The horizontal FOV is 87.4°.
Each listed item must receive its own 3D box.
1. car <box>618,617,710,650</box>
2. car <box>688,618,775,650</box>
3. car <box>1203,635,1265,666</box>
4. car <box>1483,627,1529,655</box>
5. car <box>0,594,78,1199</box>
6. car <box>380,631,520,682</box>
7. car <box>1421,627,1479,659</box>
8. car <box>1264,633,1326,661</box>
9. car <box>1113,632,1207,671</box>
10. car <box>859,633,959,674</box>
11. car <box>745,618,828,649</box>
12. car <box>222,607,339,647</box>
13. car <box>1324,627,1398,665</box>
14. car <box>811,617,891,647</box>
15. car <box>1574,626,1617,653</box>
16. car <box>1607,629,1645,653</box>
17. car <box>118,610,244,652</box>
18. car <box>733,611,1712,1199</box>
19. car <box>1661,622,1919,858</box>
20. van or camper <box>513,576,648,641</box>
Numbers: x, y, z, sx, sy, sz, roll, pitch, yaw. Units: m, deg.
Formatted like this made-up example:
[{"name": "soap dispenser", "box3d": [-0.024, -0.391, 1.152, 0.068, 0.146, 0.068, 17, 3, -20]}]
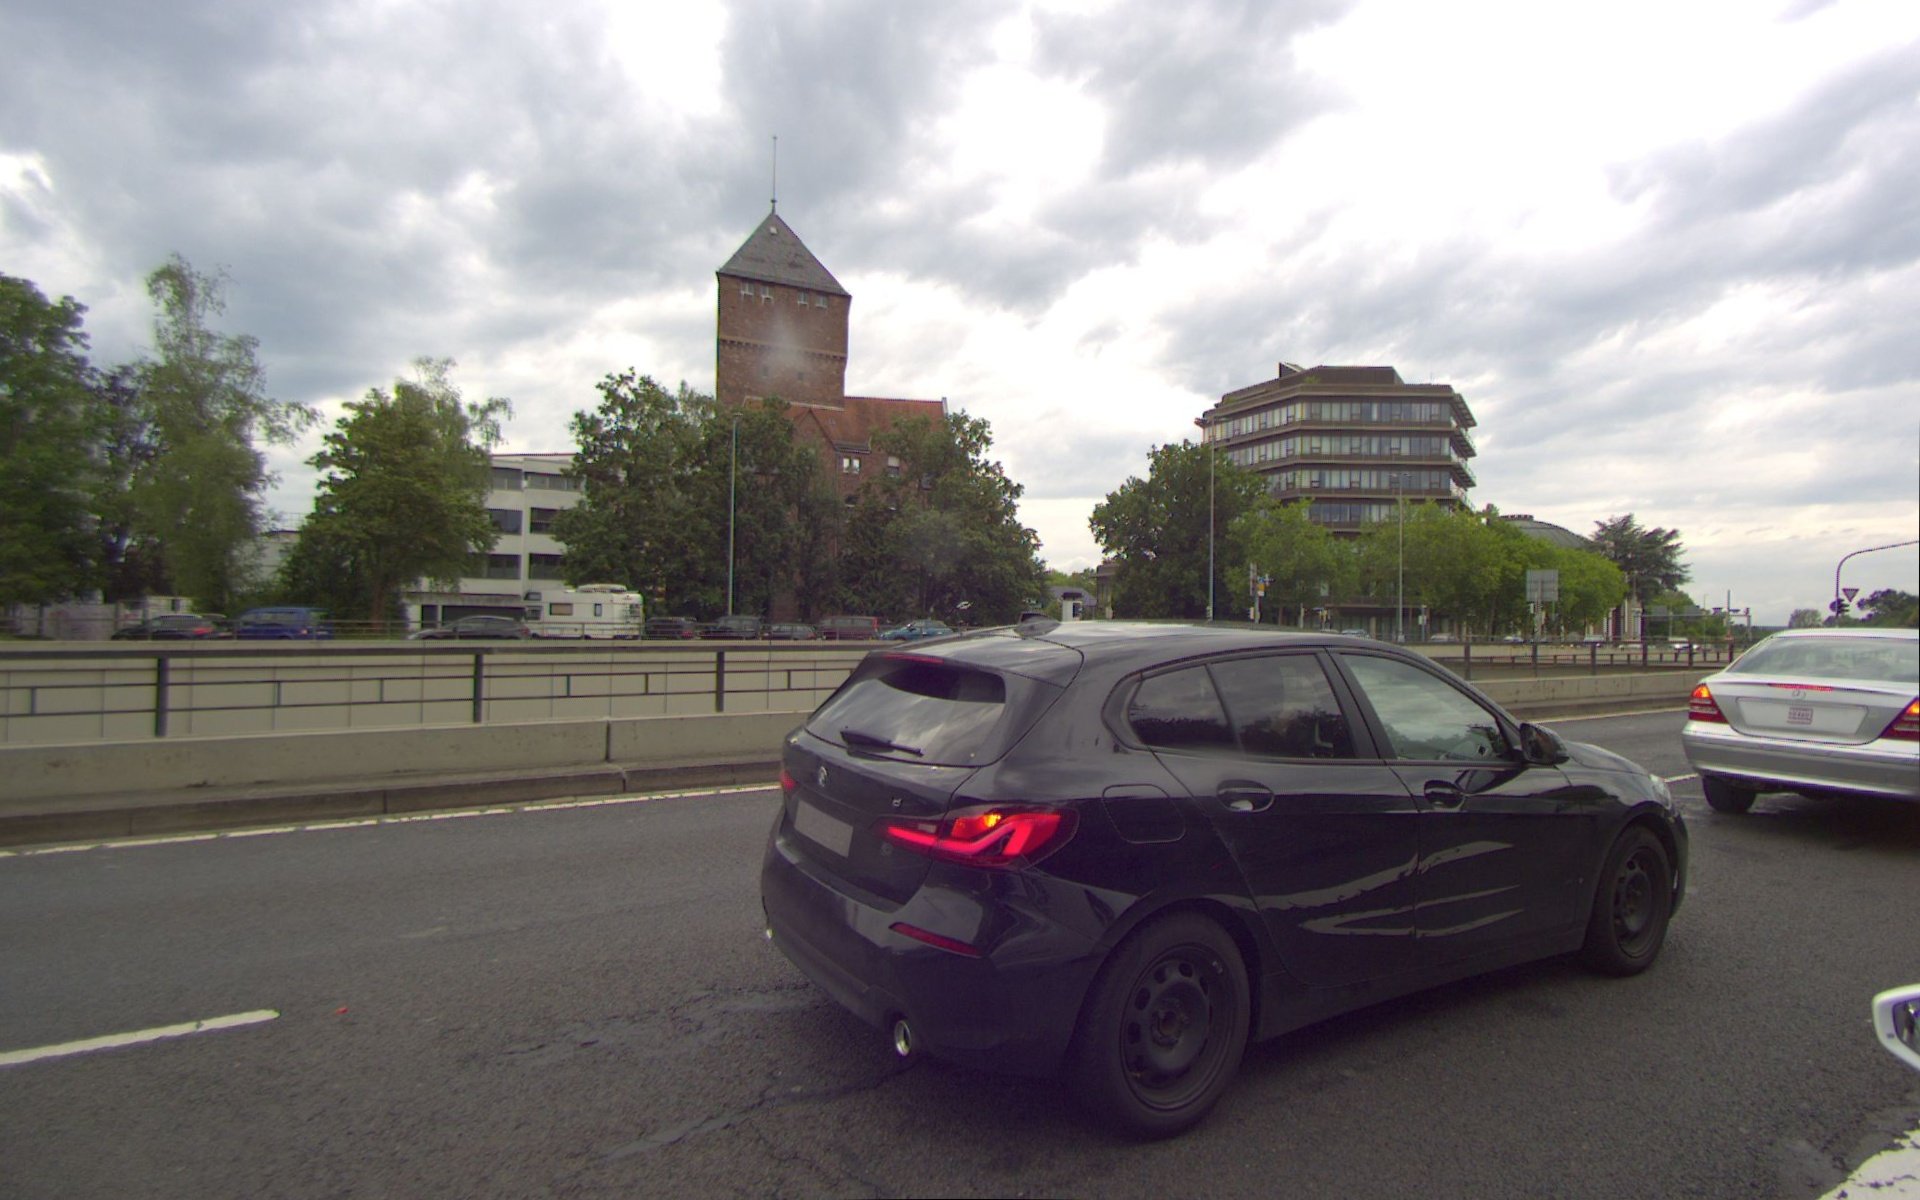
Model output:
[{"name": "car", "box3d": [-14.330, 1.596, 48.713, 3.919, 1.460, 1.630, 1, 0, 12]}, {"name": "car", "box3d": [-11.487, 1.677, 50.551, 3.919, 1.460, 1.630, 1, 0, 12]}, {"name": "car", "box3d": [23.777, 4.313, 87.054, 5.122, 2.493, 2.343, 0, -1, 18]}, {"name": "car", "box3d": [51.227, 3.818, 94.185, 5.191, 2.493, 2.313, 1, -1, -44]}, {"name": "car", "box3d": [-3.714, 0.697, 0.703, 4.413, 1.445, 1.738, 0, -1, -33]}, {"name": "car", "box3d": [-17.990, 1.953, 35.495, 4.303, 1.648, 1.875, 1, -1, -30]}, {"name": "car", "box3d": [39.790, 3.448, 81.523, 5.182, 2.493, 2.316, 1, -1, -39]}, {"name": "car", "box3d": [30.945, 4.313, 92.868, 5.120, 2.493, 2.344, 0, -1, 8]}, {"name": "car", "box3d": [11.216, 2.832, 56.099, 5.177, 1.975, 2.318, 1, -1, -37]}, {"name": "car", "box3d": [-2.317, 2.388, 45.838, 4.241, 1.736, 1.841, 1, -1, -30]}, {"name": "car", "box3d": [-9.027, 1.748, 52.377, 3.919, 1.460, 1.630, 1, 0, 12]}, {"name": "car", "box3d": [-27.403, 1.063, 40.550, 3.919, 1.460, 1.630, 1, 0, 12]}, {"name": "car", "box3d": [27.755, 3.166, 69.491, 5.173, 2.493, 2.320, 1, -1, -35]}, {"name": "car", "box3d": [-5.848, 1.704, 54.018, 3.919, 1.460, 1.630, 1, 0, 12]}, {"name": "car", "box3d": [60.444, 3.731, 95.540, 5.191, 2.493, 2.313, 1, -1, -44]}, {"name": "car", "box3d": [72.370, 4.462, 109.103, 5.191, 2.493, 2.313, 1, -1, -44]}, {"name": "car", "box3d": [-29.677, 1.157, 38.298, 3.919, 1.460, 1.630, 1, 0, 12]}, {"name": "car", "box3d": [1.257, 0.801, 4.117, 3.956, 1.413, 1.615, 2, 0, -32]}, {"name": "car", "box3d": [7.392, 0.924, 7.846, 4.261, 1.413, 1.615, 2, 0, -32]}, {"name": "van or camper", "box3d": [-17.650, 0.378, 46.730, 5.807, 2.847, 2.146, 1, 0, 18]}]
